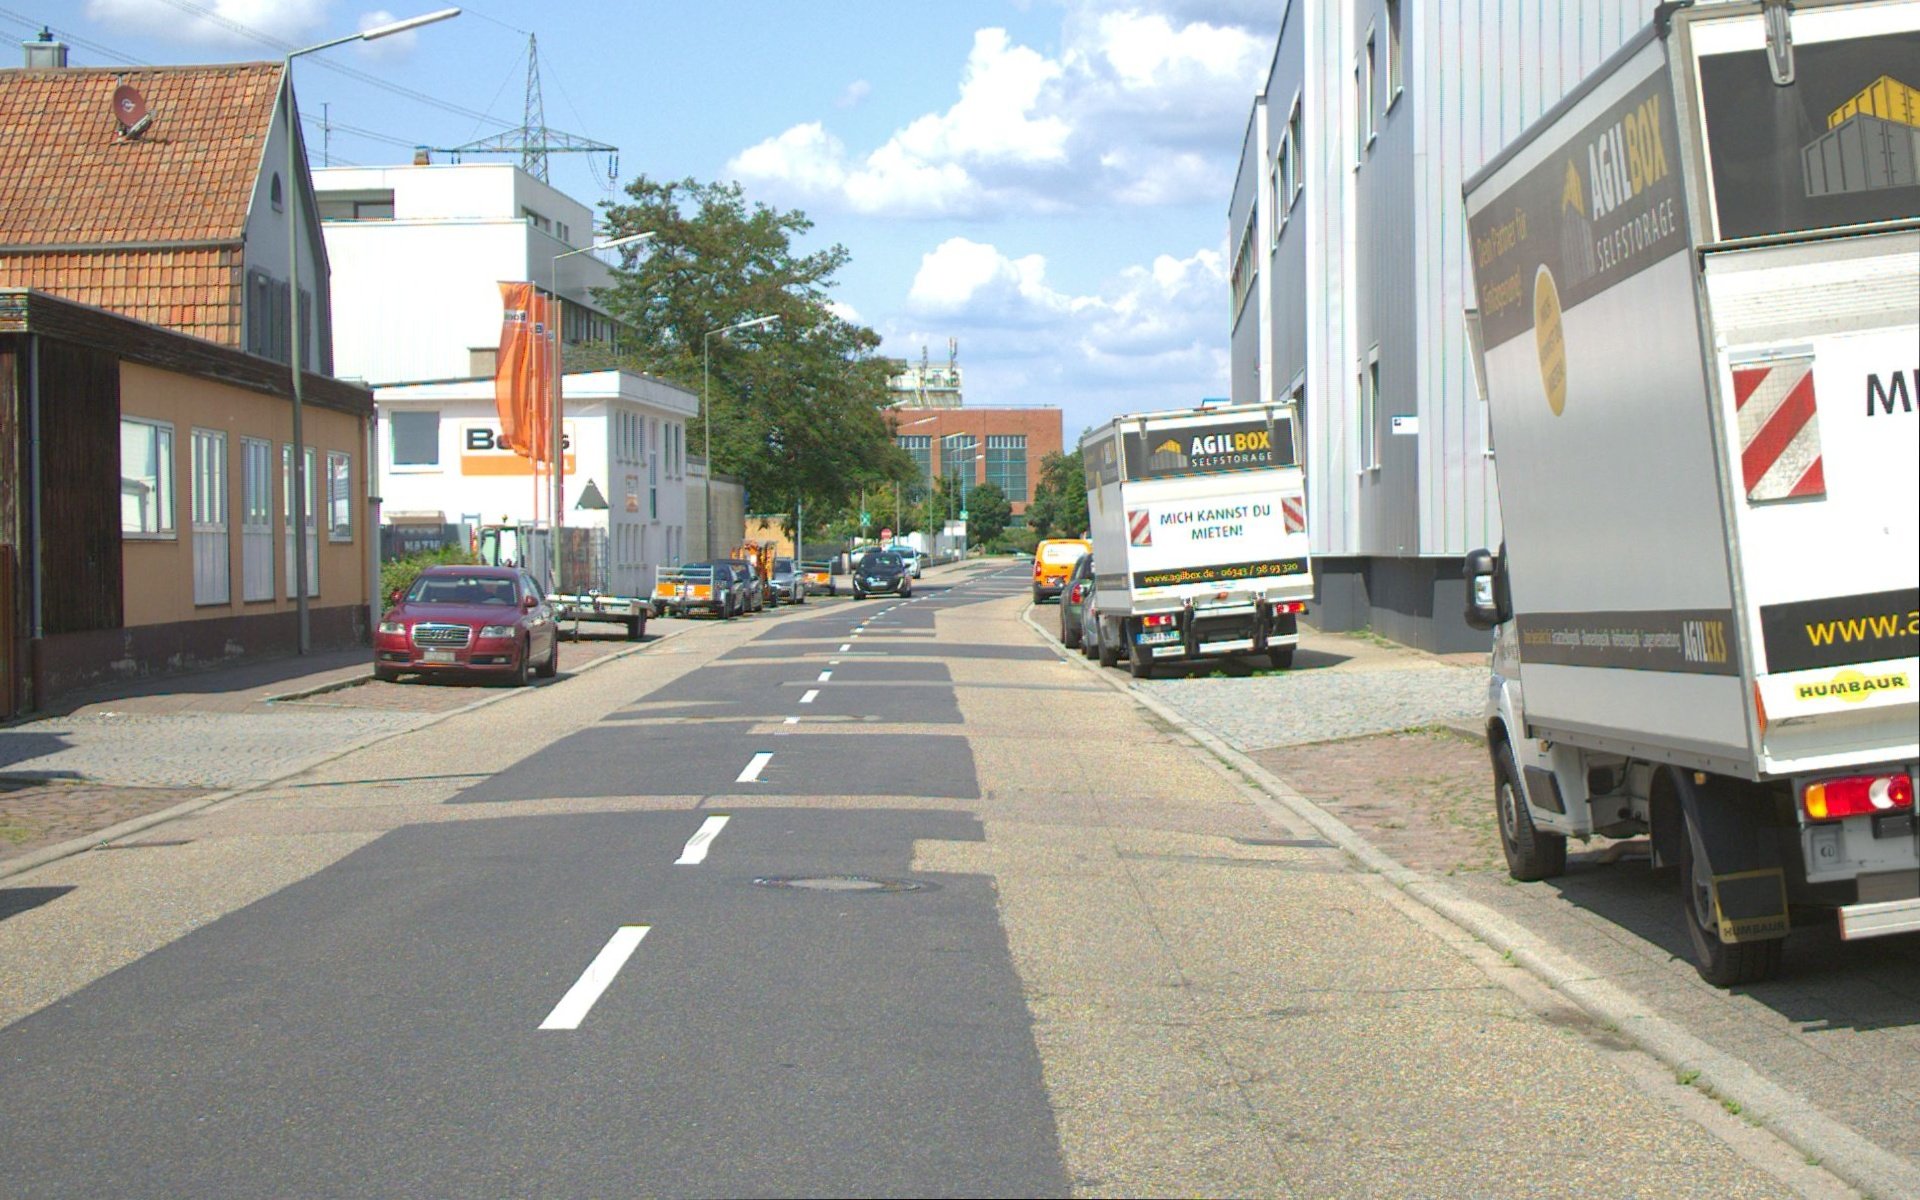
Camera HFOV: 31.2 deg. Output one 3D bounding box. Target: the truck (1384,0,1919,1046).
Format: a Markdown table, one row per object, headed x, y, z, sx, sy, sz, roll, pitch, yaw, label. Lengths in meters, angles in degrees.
| x | y | z | sx | sy | sz | roll | pitch | yaw | label |
| --- | --- | --- | --- | --- | --- | --- | --- | --- | --- |
| 3.488 | -0.454 | 13.732 | 2.458 | 3.282 | 6.818 | -5 | 1 | 0 | truck |

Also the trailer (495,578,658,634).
| x | y | z | sx | sy | sz | roll | pitch | yaw | label |
| --- | --- | --- | --- | --- | --- | --- | --- | --- | --- |
| -6.889 | 0.091 | 62.385 | 2.362 | 0.890 | 5.569 | 1 | 1 | -1 | trailer |

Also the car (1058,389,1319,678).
| x | y | z | sx | sy | sz | roll | pitch | yaw | label |
| --- | --- | --- | --- | --- | --- | --- | --- | --- | --- |
| 2.856 | -0.837 | 44.877 | 2.388 | 3.351 | 6.646 | -4 | 1 | -3 | car |

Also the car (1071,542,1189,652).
| x | y | z | sx | sy | sz | roll | pitch | yaw | label |
| --- | --- | --- | --- | --- | --- | --- | --- | --- | --- |
| 2.540 | -0.076 | 52.098 | 1.567 | 1.568 | 4.069 | -1 | 1 | 0 | car |

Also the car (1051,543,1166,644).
| x | y | z | sx | sy | sz | roll | pitch | yaw | label |
| --- | --- | --- | --- | --- | --- | --- | --- | --- | --- |
| 2.444 | -0.126 | 57.362 | 1.768 | 1.607 | 3.873 | -1 | 1 | 1 | car |

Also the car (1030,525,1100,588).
| x | y | z | sx | sy | sz | roll | pitch | yaw | label |
| --- | --- | --- | --- | --- | --- | --- | --- | --- | --- |
| 3.054 | -1.260 | 99.497 | 1.940 | 1.736 | 4.376 | -1 | 1 | 2 | car |

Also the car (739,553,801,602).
| x | y | z | sx | sy | sz | roll | pitch | yaw | label |
| --- | --- | --- | --- | --- | --- | --- | --- | --- | --- |
| -5.774 | -0.686 | 104.488 | 1.668 | 1.442 | 3.454 | 1 | 1 | 0 | car |

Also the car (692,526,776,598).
| x | y | z | sx | sy | sz | roll | pitch | yaw | label |
| --- | --- | --- | --- | --- | --- | --- | --- | --- | --- |
| -6.482 | -1.088 | 98.973 | 1.993 | 2.007 | 4.000 | 1 | 1 | 2 | car |

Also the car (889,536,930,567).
| x | y | z | sx | sy | sz | roll | pitch | yaw | label |
| --- | --- | --- | --- | --- | --- | --- | --- | --- | --- |
| -2.603 | -2.490 | 176.591 | 1.810 | 1.558 | 4.000 | 1 | 1 | 3 | car |

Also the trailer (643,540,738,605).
| x | y | z | sx | sy | sz | roll | pitch | yaw | label |
| --- | --- | --- | --- | --- | --- | --- | --- | --- | --- |
| -6.517 | -0.685 | 83.538 | 1.993 | 1.551 | 4.254 | 0 | 1 | -1 | trailer |

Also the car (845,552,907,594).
| x | y | z | sx | sy | sz | roll | pitch | yaw | label |
| --- | --- | --- | --- | --- | --- | --- | --- | --- | --- |
| -2.683 | -0.889 | 110.245 | 1.918 | 1.280 | 3.615 | -1 | 1 | -1 | car |

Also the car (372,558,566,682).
| x | y | z | sx | sy | sz | roll | pitch | yaw | label |
| --- | --- | --- | --- | --- | --- | --- | --- | --- | --- |
| -6.155 | 0.214 | 43.541 | 1.762 | 1.442 | 4.741 | 1 | 1 | 0 | car |

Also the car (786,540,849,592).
| x | y | z | sx | sy | sz | roll | pitch | yaw | label |
| --- | --- | --- | --- | --- | --- | --- | --- | --- | --- |
| -5.057 | -1.192 | 122.287 | 1.922 | 1.788 | 4.000 | 1 | 1 | 2 | car |
